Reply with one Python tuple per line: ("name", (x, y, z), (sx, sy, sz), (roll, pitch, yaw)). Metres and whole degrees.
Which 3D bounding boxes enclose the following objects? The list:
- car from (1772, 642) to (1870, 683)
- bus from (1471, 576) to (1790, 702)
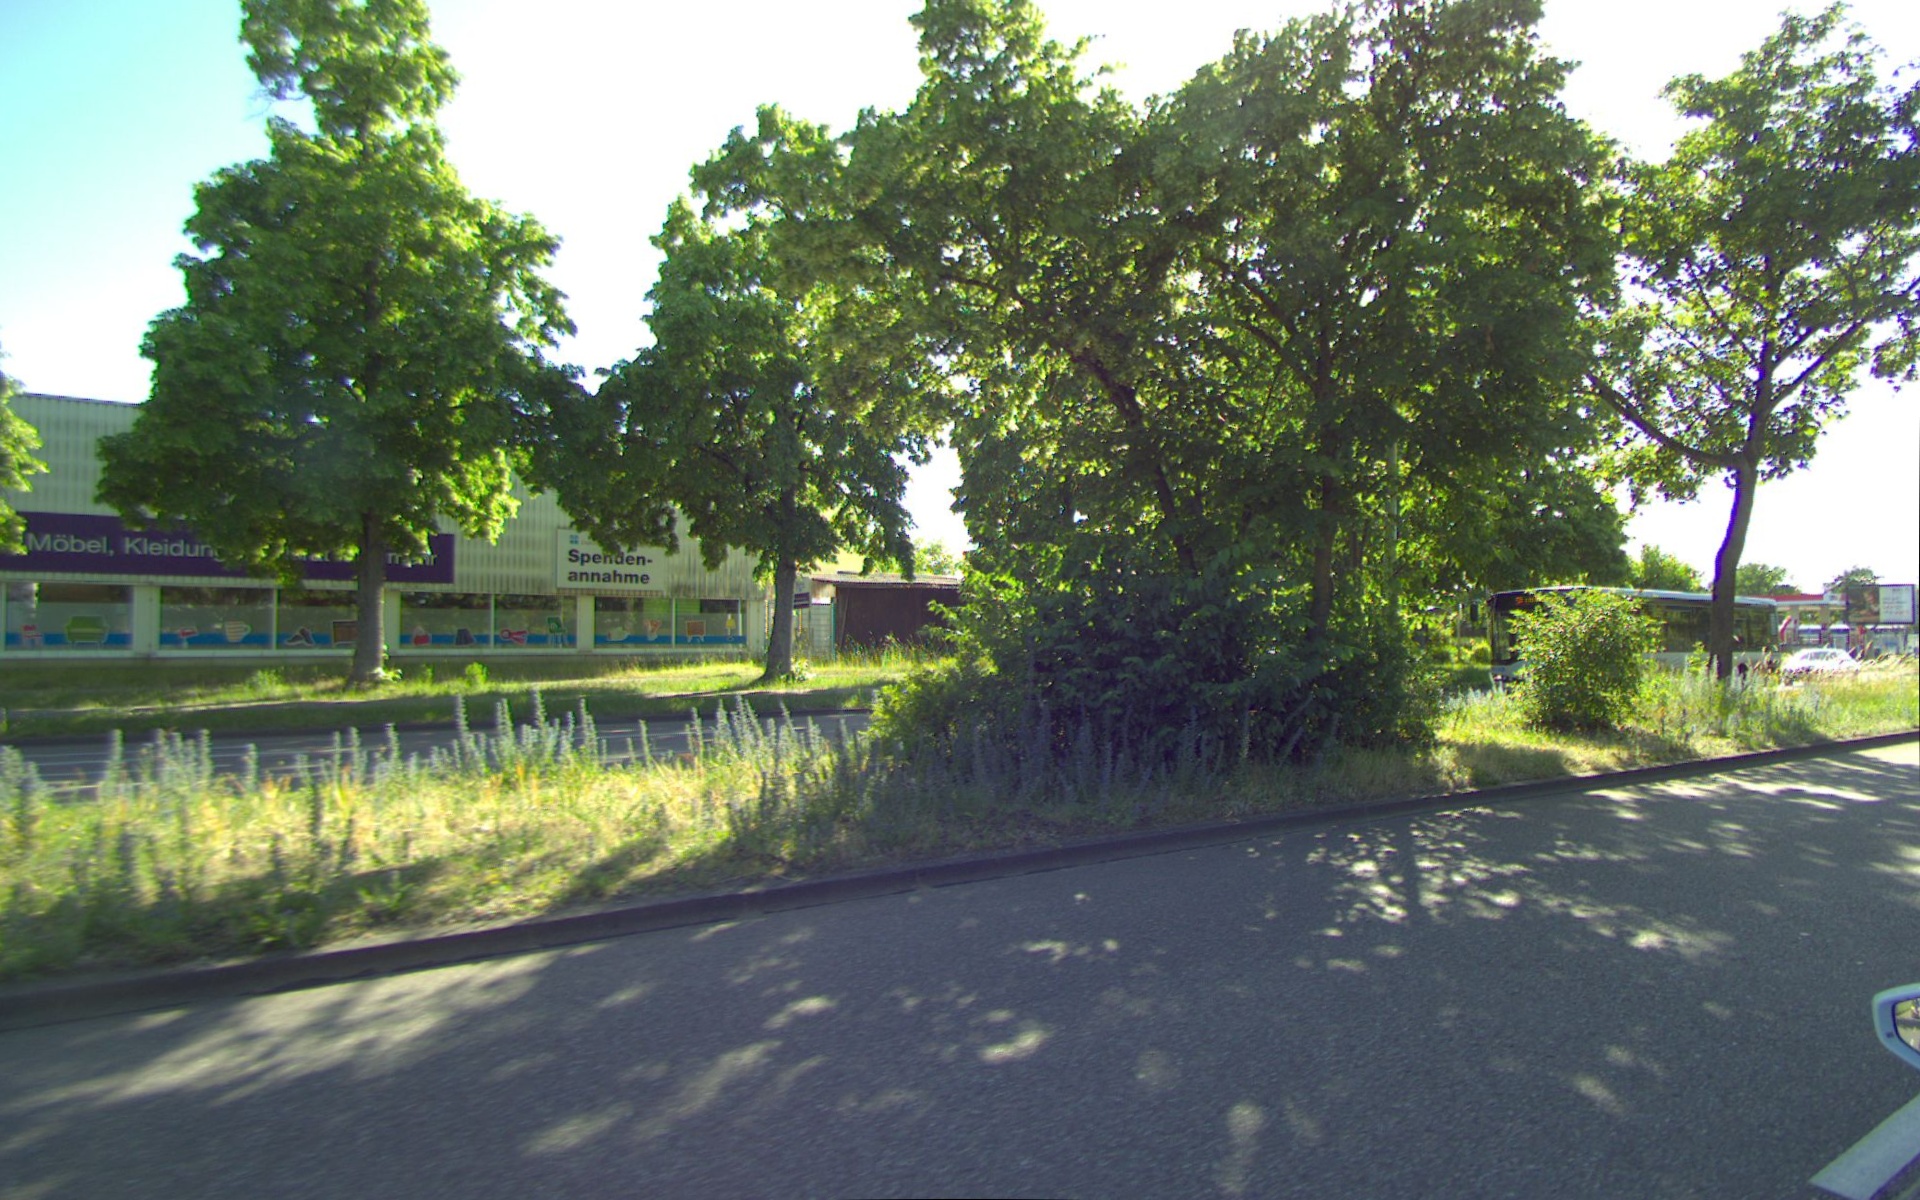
("car", (34.927, 2.532, 40.733), (4.480, 1.540, 1.747), (1, -4, -33))
("bus", (17.649, 1.061, 26.011), (10.970, 2.756, 2.706), (1, -5, -33))
